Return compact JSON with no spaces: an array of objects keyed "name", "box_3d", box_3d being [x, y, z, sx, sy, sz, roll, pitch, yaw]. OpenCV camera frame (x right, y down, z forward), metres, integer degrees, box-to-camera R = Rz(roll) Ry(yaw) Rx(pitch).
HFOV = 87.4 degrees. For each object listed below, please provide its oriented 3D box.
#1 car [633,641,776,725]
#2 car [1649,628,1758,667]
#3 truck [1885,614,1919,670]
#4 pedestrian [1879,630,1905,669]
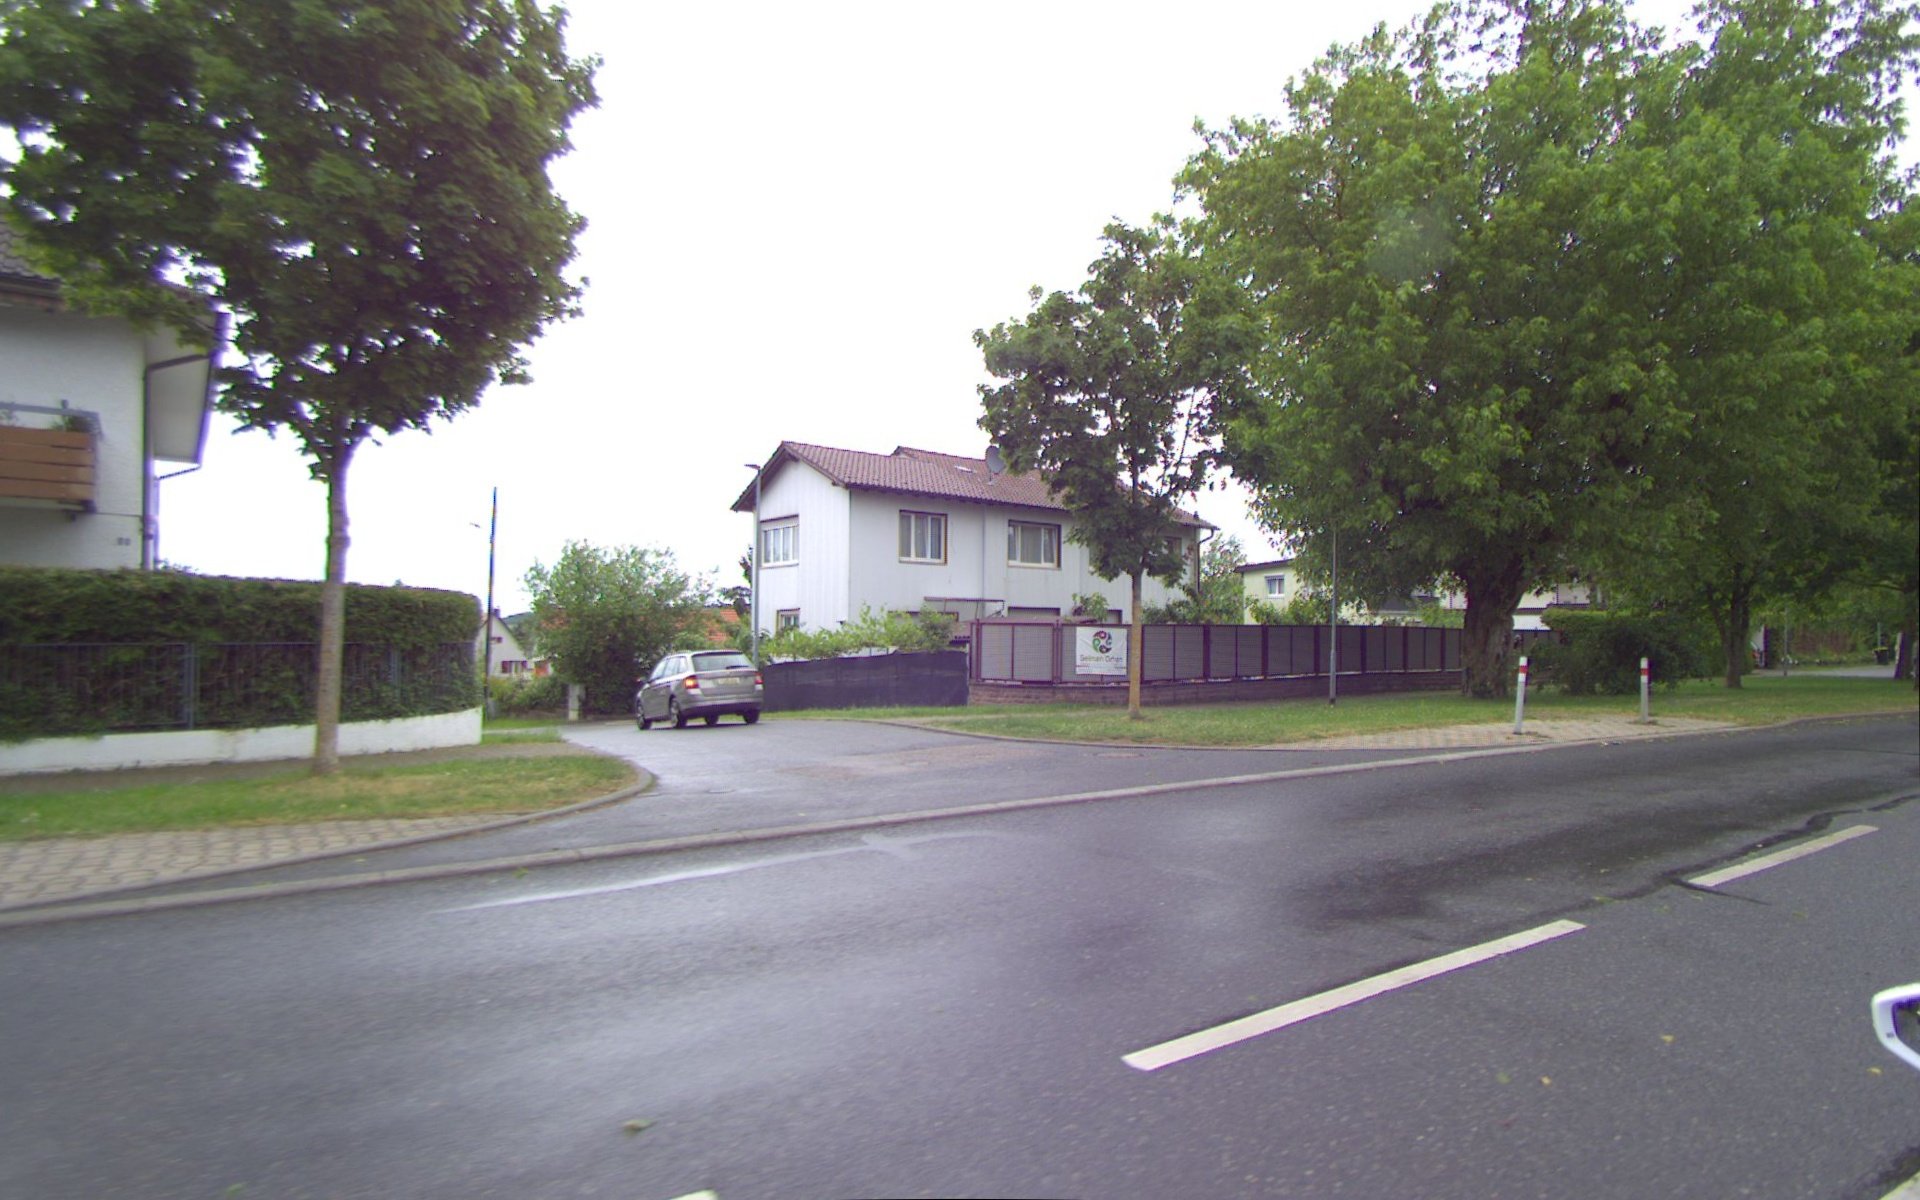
[{"name":"car","box_3d":[-5.221,1.600,20.211,1.824,1.506,3.970,1,-3,-29]},{"name":"car","box_3d":[36.422,2.281,49.268,1.864,1.839,3.955,2,-2,-39]},{"name":"truck","box_3d":[47.768,2.073,49.417,5.818,2.631,2.269,2,-2,-36]},{"name":"pedestrian","box_3d":[44.476,2.355,47.936,0.816,1.865,0.704,1,-2,-35]}]
